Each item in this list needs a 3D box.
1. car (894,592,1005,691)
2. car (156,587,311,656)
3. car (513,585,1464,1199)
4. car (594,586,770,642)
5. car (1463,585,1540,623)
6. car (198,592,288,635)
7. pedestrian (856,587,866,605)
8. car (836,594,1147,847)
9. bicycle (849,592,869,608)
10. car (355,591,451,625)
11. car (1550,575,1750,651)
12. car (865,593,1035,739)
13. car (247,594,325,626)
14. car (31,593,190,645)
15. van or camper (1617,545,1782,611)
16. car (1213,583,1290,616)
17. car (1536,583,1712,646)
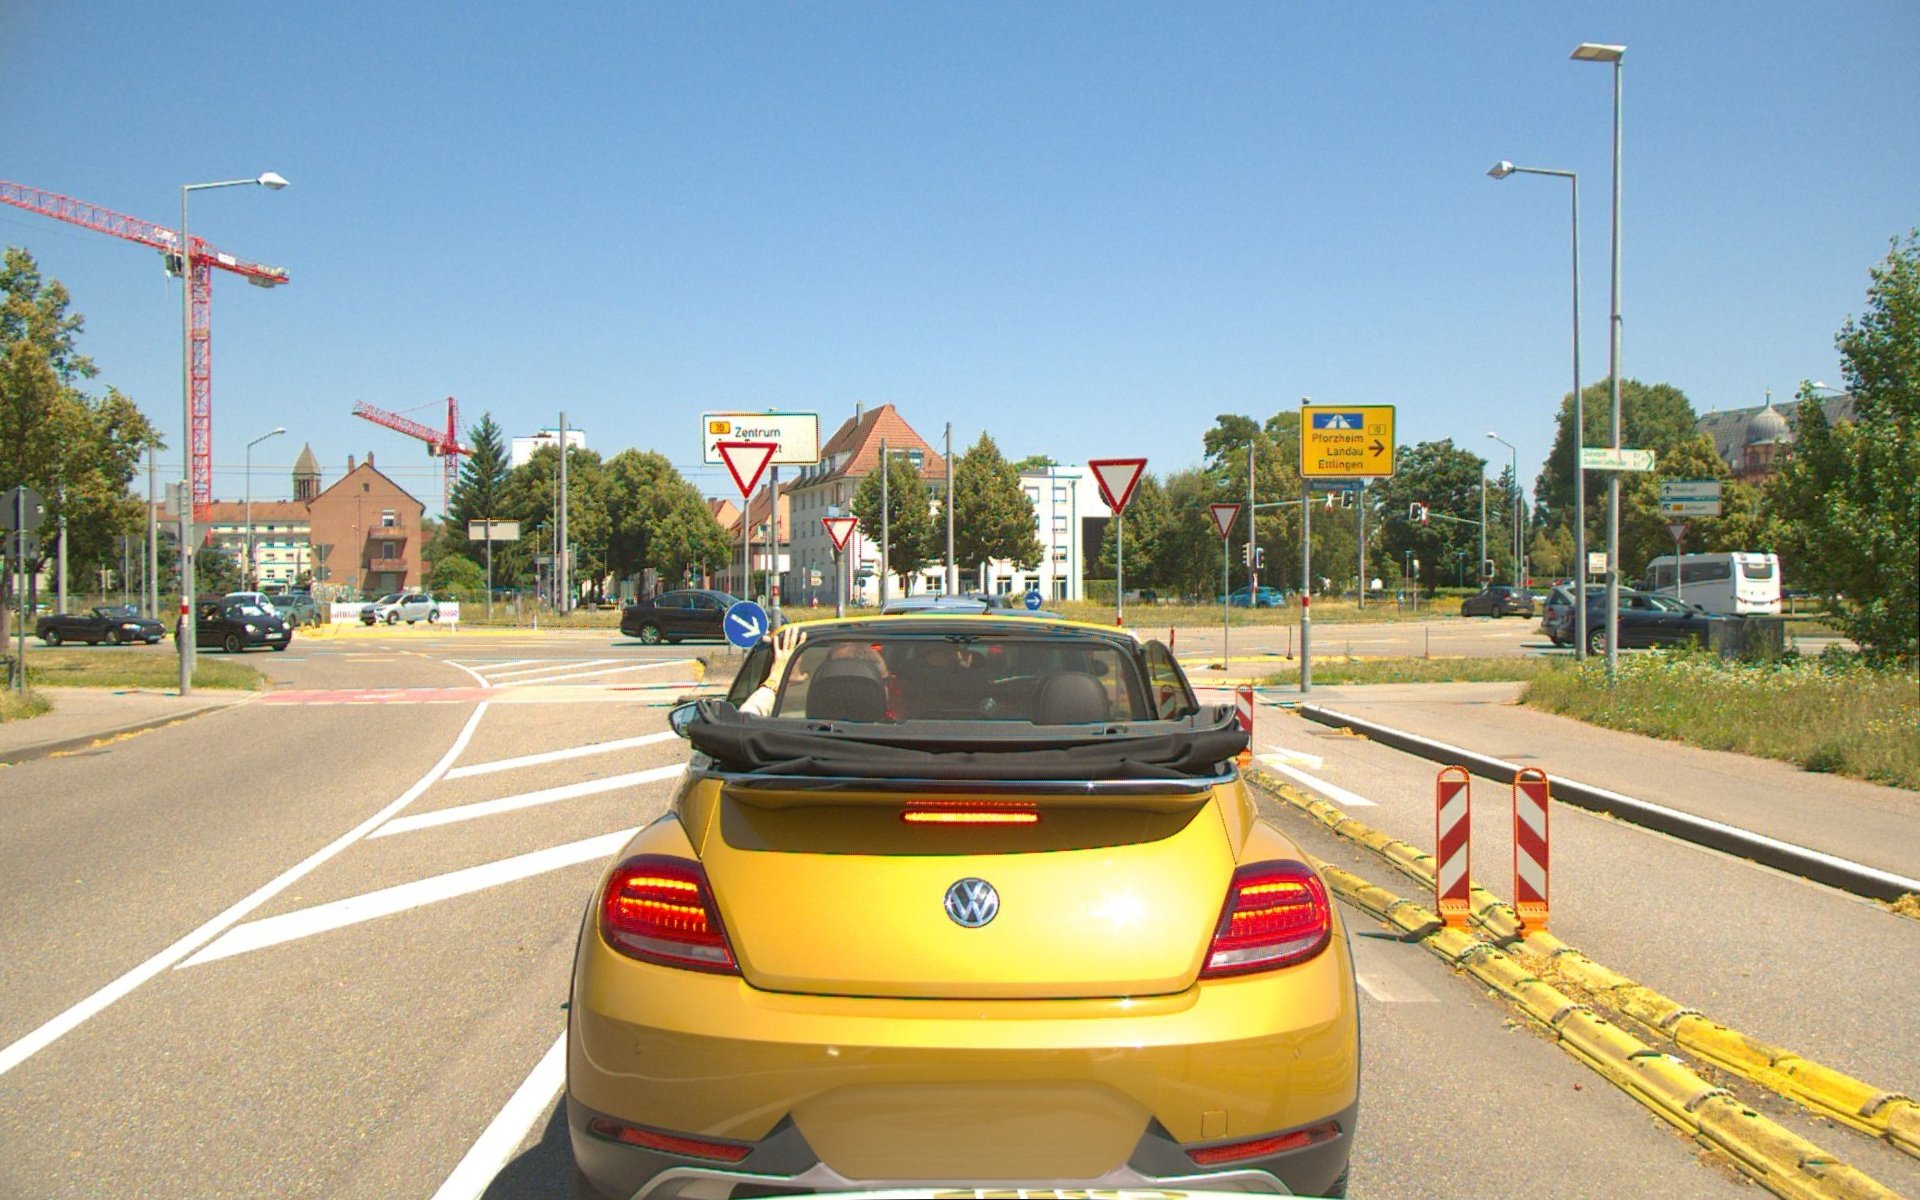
[{"bbox_3d":[-0.180,0.637,27.475,1.701,1.503,3.999,0,0,-1],"label":"car"},{"bbox_3d":[-20.292,0.567,46.189,3.911,1.847,1.997,0,0,29],"label":"car"},{"bbox_3d":[0.024,0.699,4.882,1.717,1.447,3.776,0,0,-1],"label":"car"},{"bbox_3d":[-7.623,0.373,45.570,4.422,1.472,1.824,0,0,7],"label":"car"},{"bbox_3d":[24.073,0.159,73.624,1.623,1.634,3.206,0,0,-22],"label":"car"},{"bbox_3d":[-27.201,0.507,62.883,1.720,1.576,3.999,0,0,-1],"label":"car"},{"bbox_3d":[-7.076,-0.303,117.957,0.663,1.252,0.498,0,0,-8],"label":"pedestrian"},{"bbox_3d":[0.161,0.705,11.665,1.810,1.467,3.999,0,0,-1],"label":"car"},{"bbox_3d":[-7.206,-0.001,117.939,1.438,1.090,0.498,0,0,-8],"label":"bicycle"},{"bbox_3d":[-26.172,0.363,77.813,1.676,1.526,4.210,0,0,32],"label":"car"},{"bbox_3d":[15.526,0.288,37.396,3.914,1.648,1.738,0,0,13],"label":"car"},{"bbox_3d":[-0.123,0.663,18.674,1.701,1.467,3.999,0,0,-1],"label":"car"},{"bbox_3d":[-27.804,0.393,68.325,1.672,1.258,3.786,0,0,-1],"label":"car"},{"bbox_3d":[-28.564,0.623,55.639,4.835,1.685,2.000,0,0,20],"label":"car"},{"bbox_3d":[32.471,-0.922,73.012,2.464,2.741,7.480,0,0,-16],"label":"van or camper"},{"bbox_3d":[16.797,-0.051,95.229,3.916,1.870,1.995,0,0,33],"label":"car"},{"bbox_3d":[16.637,0.341,41.621,3.902,1.522,1.802,0,0,14],"label":"car"}]
